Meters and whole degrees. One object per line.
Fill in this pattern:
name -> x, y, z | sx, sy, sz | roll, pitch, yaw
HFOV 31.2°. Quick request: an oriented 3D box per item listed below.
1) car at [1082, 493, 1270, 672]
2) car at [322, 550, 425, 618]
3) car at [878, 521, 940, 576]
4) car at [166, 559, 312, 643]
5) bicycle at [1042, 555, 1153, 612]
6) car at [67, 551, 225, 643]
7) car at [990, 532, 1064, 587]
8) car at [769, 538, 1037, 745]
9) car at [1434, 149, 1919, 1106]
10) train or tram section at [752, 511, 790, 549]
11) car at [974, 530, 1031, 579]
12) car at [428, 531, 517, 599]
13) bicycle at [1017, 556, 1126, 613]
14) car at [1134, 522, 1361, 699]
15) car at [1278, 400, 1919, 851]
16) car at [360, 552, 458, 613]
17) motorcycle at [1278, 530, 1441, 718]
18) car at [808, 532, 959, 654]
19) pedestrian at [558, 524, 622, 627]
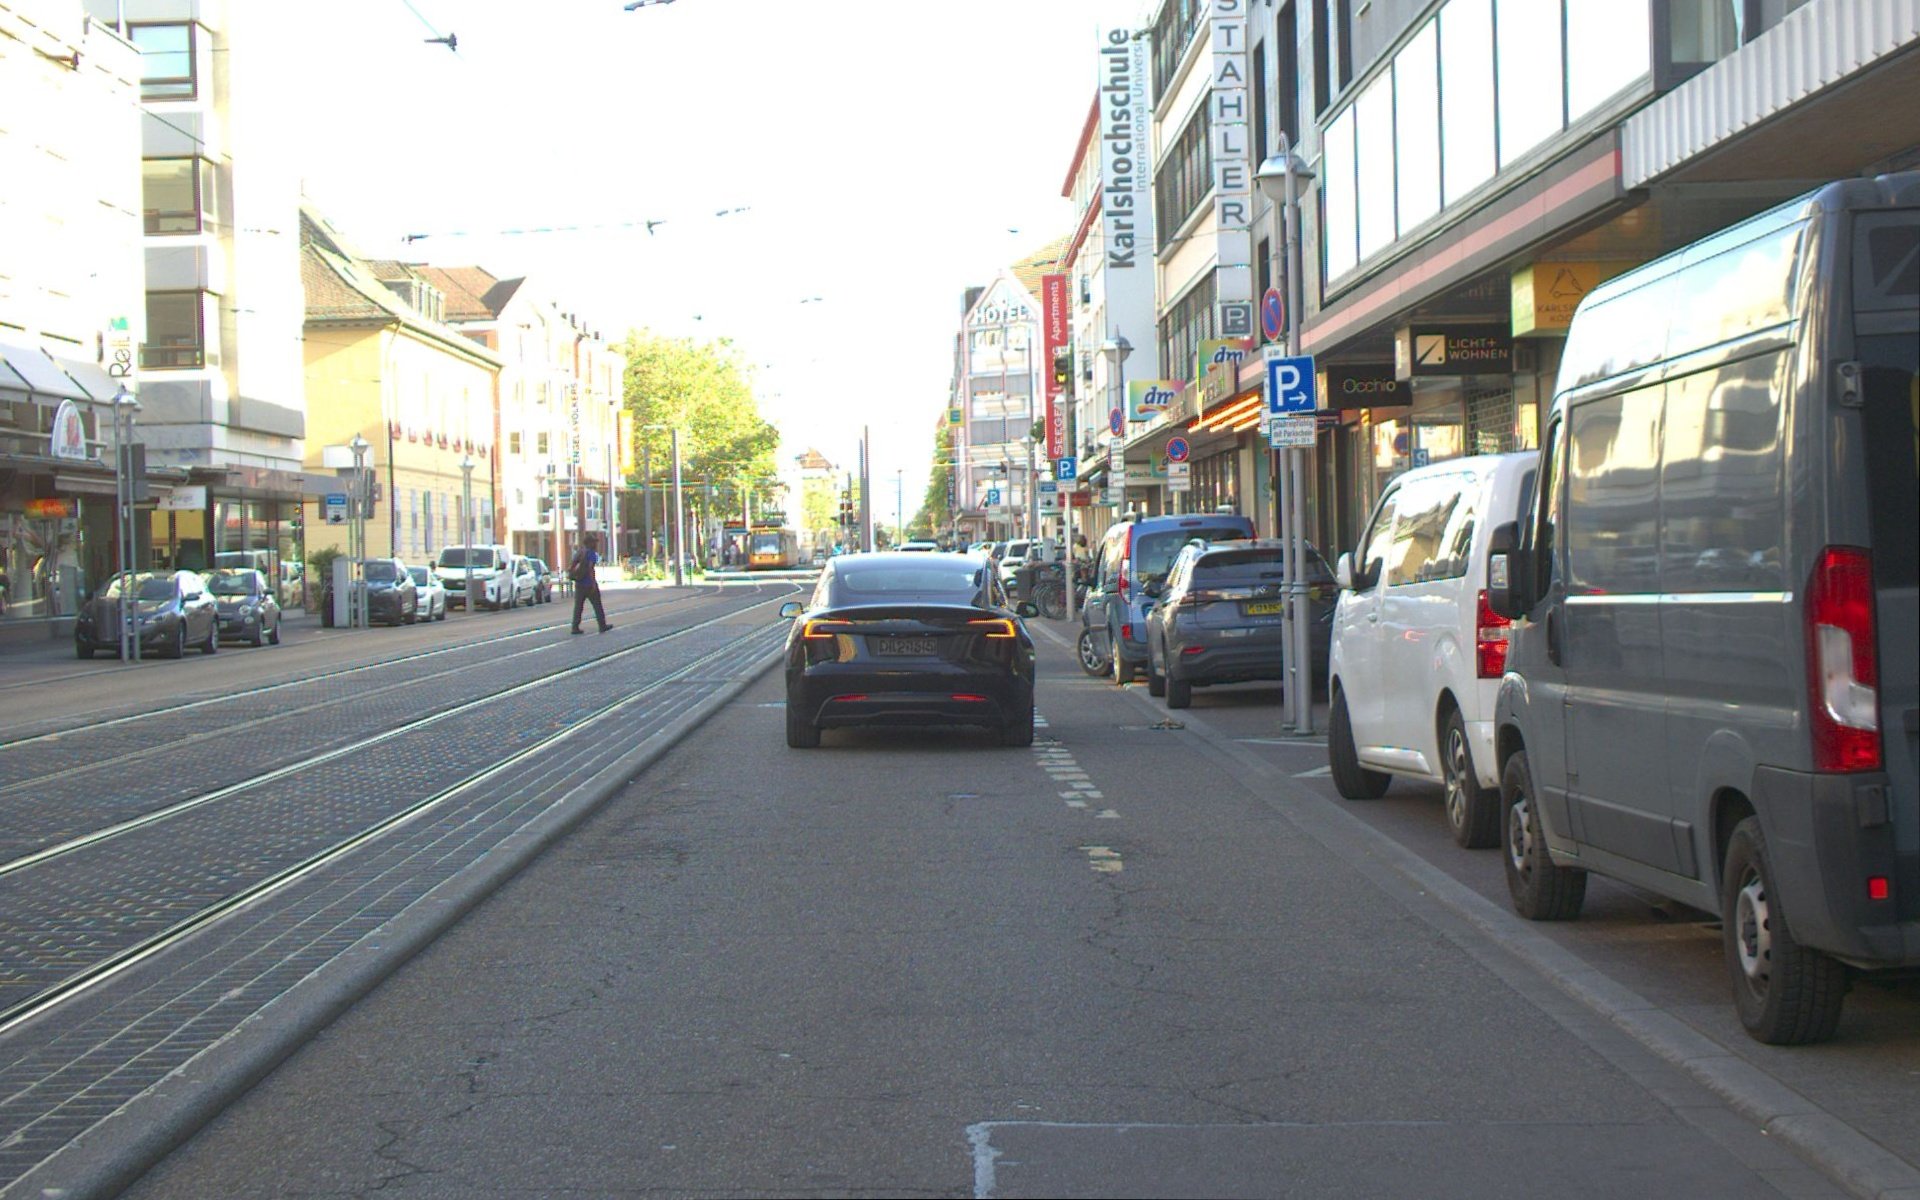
car -> 2.344, -0.225, 38.107 | 1.821, 1.864, 3.754 | -1, 1, 0
car -> -14.194, -0.410, 83.363 | 1.718, 1.566, 3.849 | -1, 1, 1
car -> -1.762, -1.806, 119.219 | 2.085, 1.864, 3.754 | -1, 1, 0
car -> -13.829, -0.010, 66.132 | 1.770, 1.503, 3.860 | -1, 1, 3
bicycle -> 2.760, -0.334, 69.302 | 2.159, 1.093, 0.686 | -1, 1, -3
car -> -14.159, -0.072, 59.995 | 1.769, 1.503, 3.864 | -1, 1, 1
car -> 1.907, -1.148, 98.998 | 1.993, 1.537, 4.000 | -1, 0, -1
car -> -0.408, 0.254, 26.445 | 1.869, 1.422, 4.365 | -1, 1, 0
car -> 3.165, -0.028, 11.567 | 2.171, 2.453, 5.362 | -3, 1, -1
train or tram section -> -13.404, -4.947, 243.943 | 1.994, 2.625, 6.801 | -1, 1, 3
car -> 1.554, -1.685, 127.494 | 1.993, 1.747, 4.000 | -1, 0, -1
car -> -14.526, -1.060, 102.684 | 2.009, 1.954, 4.725 | -1, 1, -1
bicycle -> 2.274, -0.323, 70.186 | 2.159, 1.093, 0.686 | -1, 1, -3
car -> 2.611, 0.051, 31.972 | 1.751, 1.494, 3.754 | -2, 1, 0
car -> 3.168, 0.071, 18.148 | 2.158, 1.920, 4.618 | -4, 1, -3
car -> -14.284, -0.466, 89.311 | 1.770, 1.503, 3.972 | -1, 1, 1
motorcycle -> 3.052, 0.168, 26.532 | 0.813, 1.311, 2.633 | -5, 0, -1
car -> -0.971, -0.096, 42.999 | 1.761, 1.414, 4.355 | -1, 0, -2
pedestrian -> -6.729, -0.448, 62.473 | 0.772, 1.842, 0.827 | -1, 1, 30
